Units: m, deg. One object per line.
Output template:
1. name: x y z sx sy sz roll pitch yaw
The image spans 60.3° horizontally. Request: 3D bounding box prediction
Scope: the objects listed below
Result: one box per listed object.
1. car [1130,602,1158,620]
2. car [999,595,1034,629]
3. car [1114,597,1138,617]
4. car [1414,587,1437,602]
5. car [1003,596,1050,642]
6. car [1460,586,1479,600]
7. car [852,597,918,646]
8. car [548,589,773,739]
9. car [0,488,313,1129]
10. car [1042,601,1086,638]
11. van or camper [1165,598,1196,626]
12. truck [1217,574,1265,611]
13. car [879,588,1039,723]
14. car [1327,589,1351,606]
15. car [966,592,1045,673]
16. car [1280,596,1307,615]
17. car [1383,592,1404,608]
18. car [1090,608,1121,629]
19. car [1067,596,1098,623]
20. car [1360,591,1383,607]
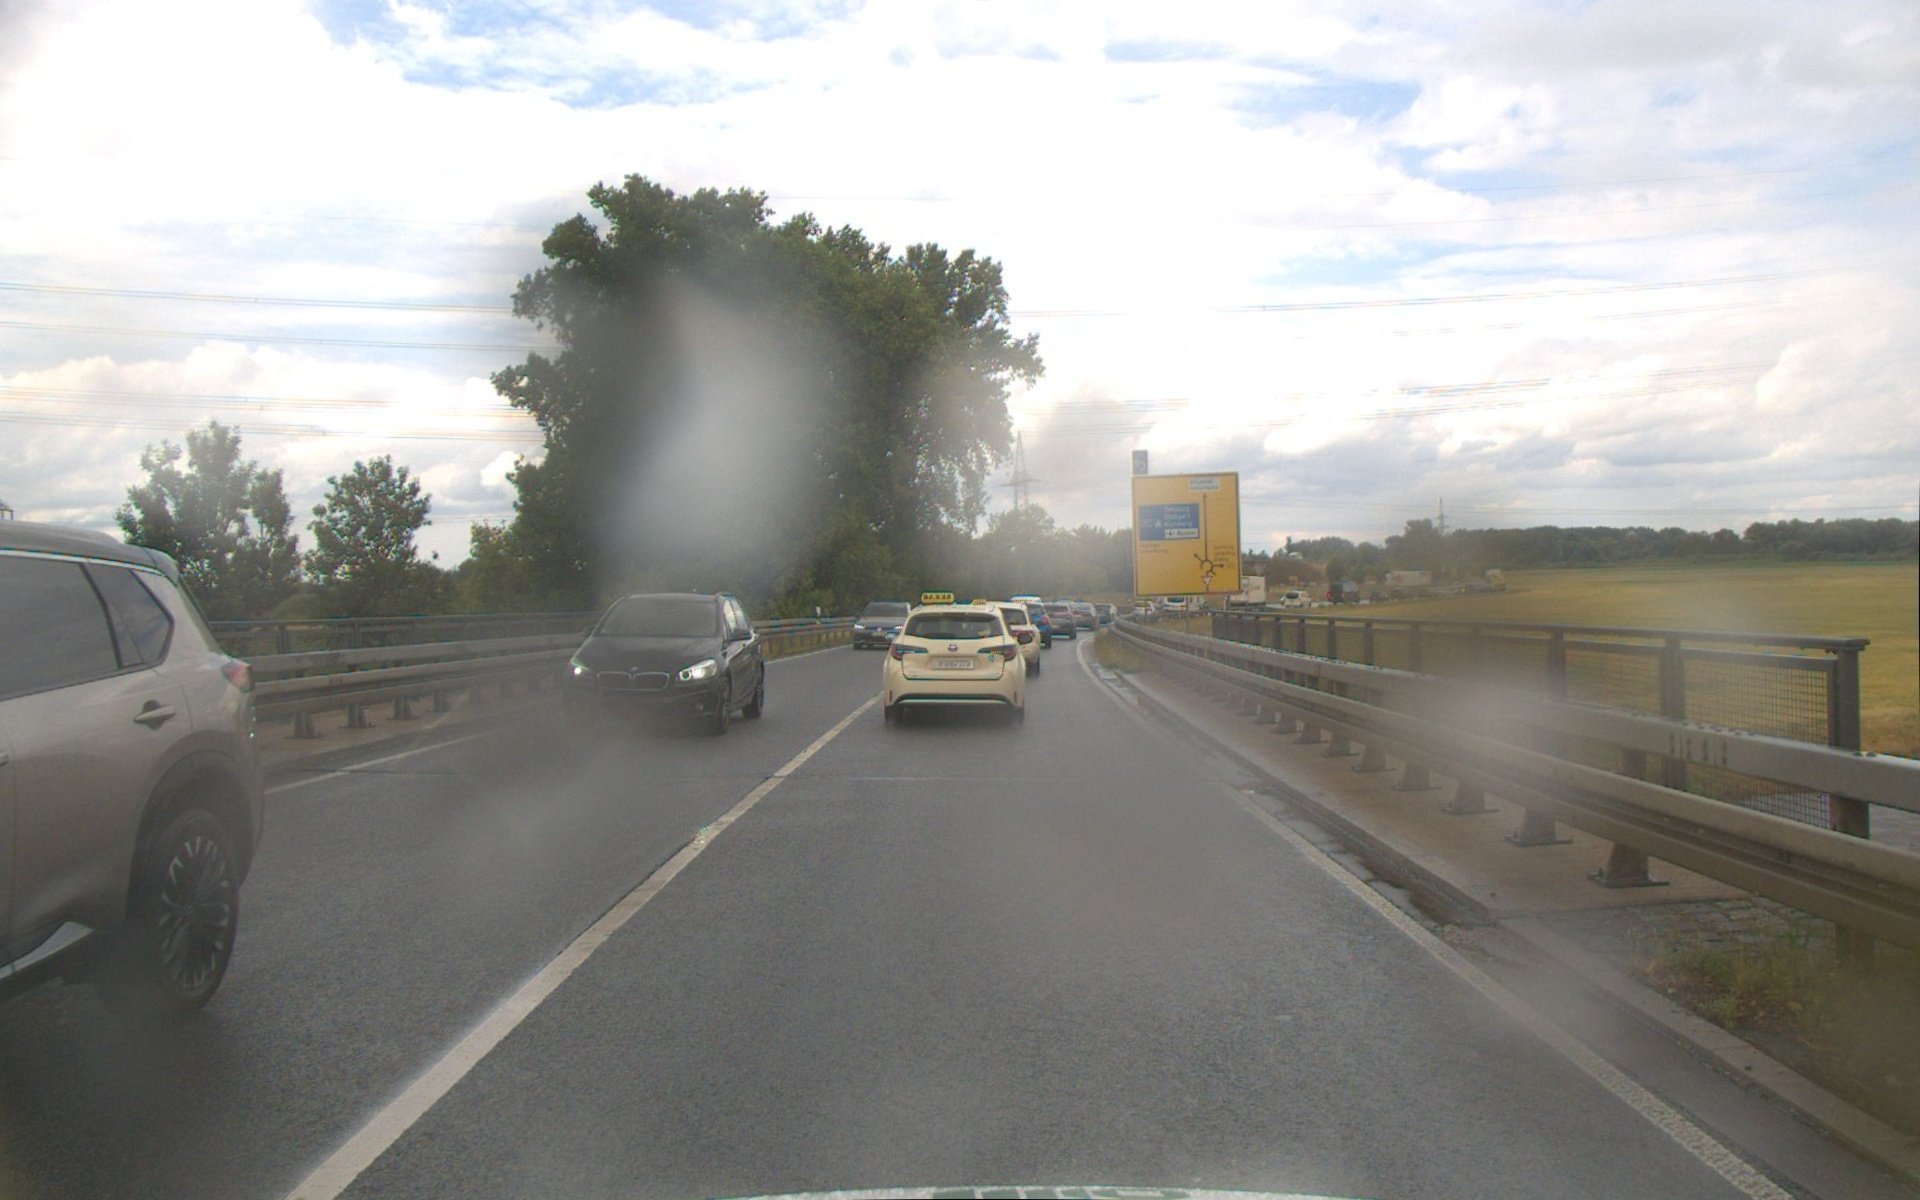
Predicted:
1. car: 13.904 0.836 124.831 1.451 1.332 3.478 0 0 17
2. car: 3.358 0.683 97.742 1.822 1.925 4.492 0 0 5
3. car: 15.320 0.646 152.783 1.485 1.751 3.422 0 -1 18
4. car: 65.269 -0.779 231.846 1.960 2.049 3.985 0 -1 35
5. car: 2.191 0.629 54.845 1.475 1.462 3.356 1 0 1
6. car: 77.218 -1.056 250.610 1.731 2.049 3.988 0 1 34
7. car: -2.303 0.667 51.712 1.797 1.468 4.103 1 0 1
8. car: -3.396 0.664 19.510 1.860 1.568 4.023 1 0 1
9. car: -3.485 0.551 4.423 1.804 1.730 4.388 1 1 -1
10. car: 4.336 0.797 68.908 1.630 1.490 3.479 0 0 7
11. van or camper: 18.735 1.055 140.496 1.951 2.293 4.002 0 -1 17
12. truck: 28.576 -0.751 167.925 3.076 3.624 7.519 0 -1 23
13. car: -0.011 0.663 21.439 1.867 1.564 4.161 0 0 0
14. car: 46.566 -0.318 203.265 1.955 2.049 3.995 0 -1 27
15. car: 0.964 0.649 34.594 1.545 1.600 3.682 0 0 2
16. car: 37.958 0.664 188.115 2.123 2.049 3.997 0 -1 25
17. car: 58.474 -0.042 222.892 1.954 2.049 3.996 0 -1 26
18. car: 9.439 1.184 107.301 1.451 1.332 3.479 0 0 14
19. car: 6.834 0.558 92.056 1.625 1.434 3.906 0 -1 5
20. car: 53.694 -0.145 215.751 2.182 2.049 3.996 0 -1 26
